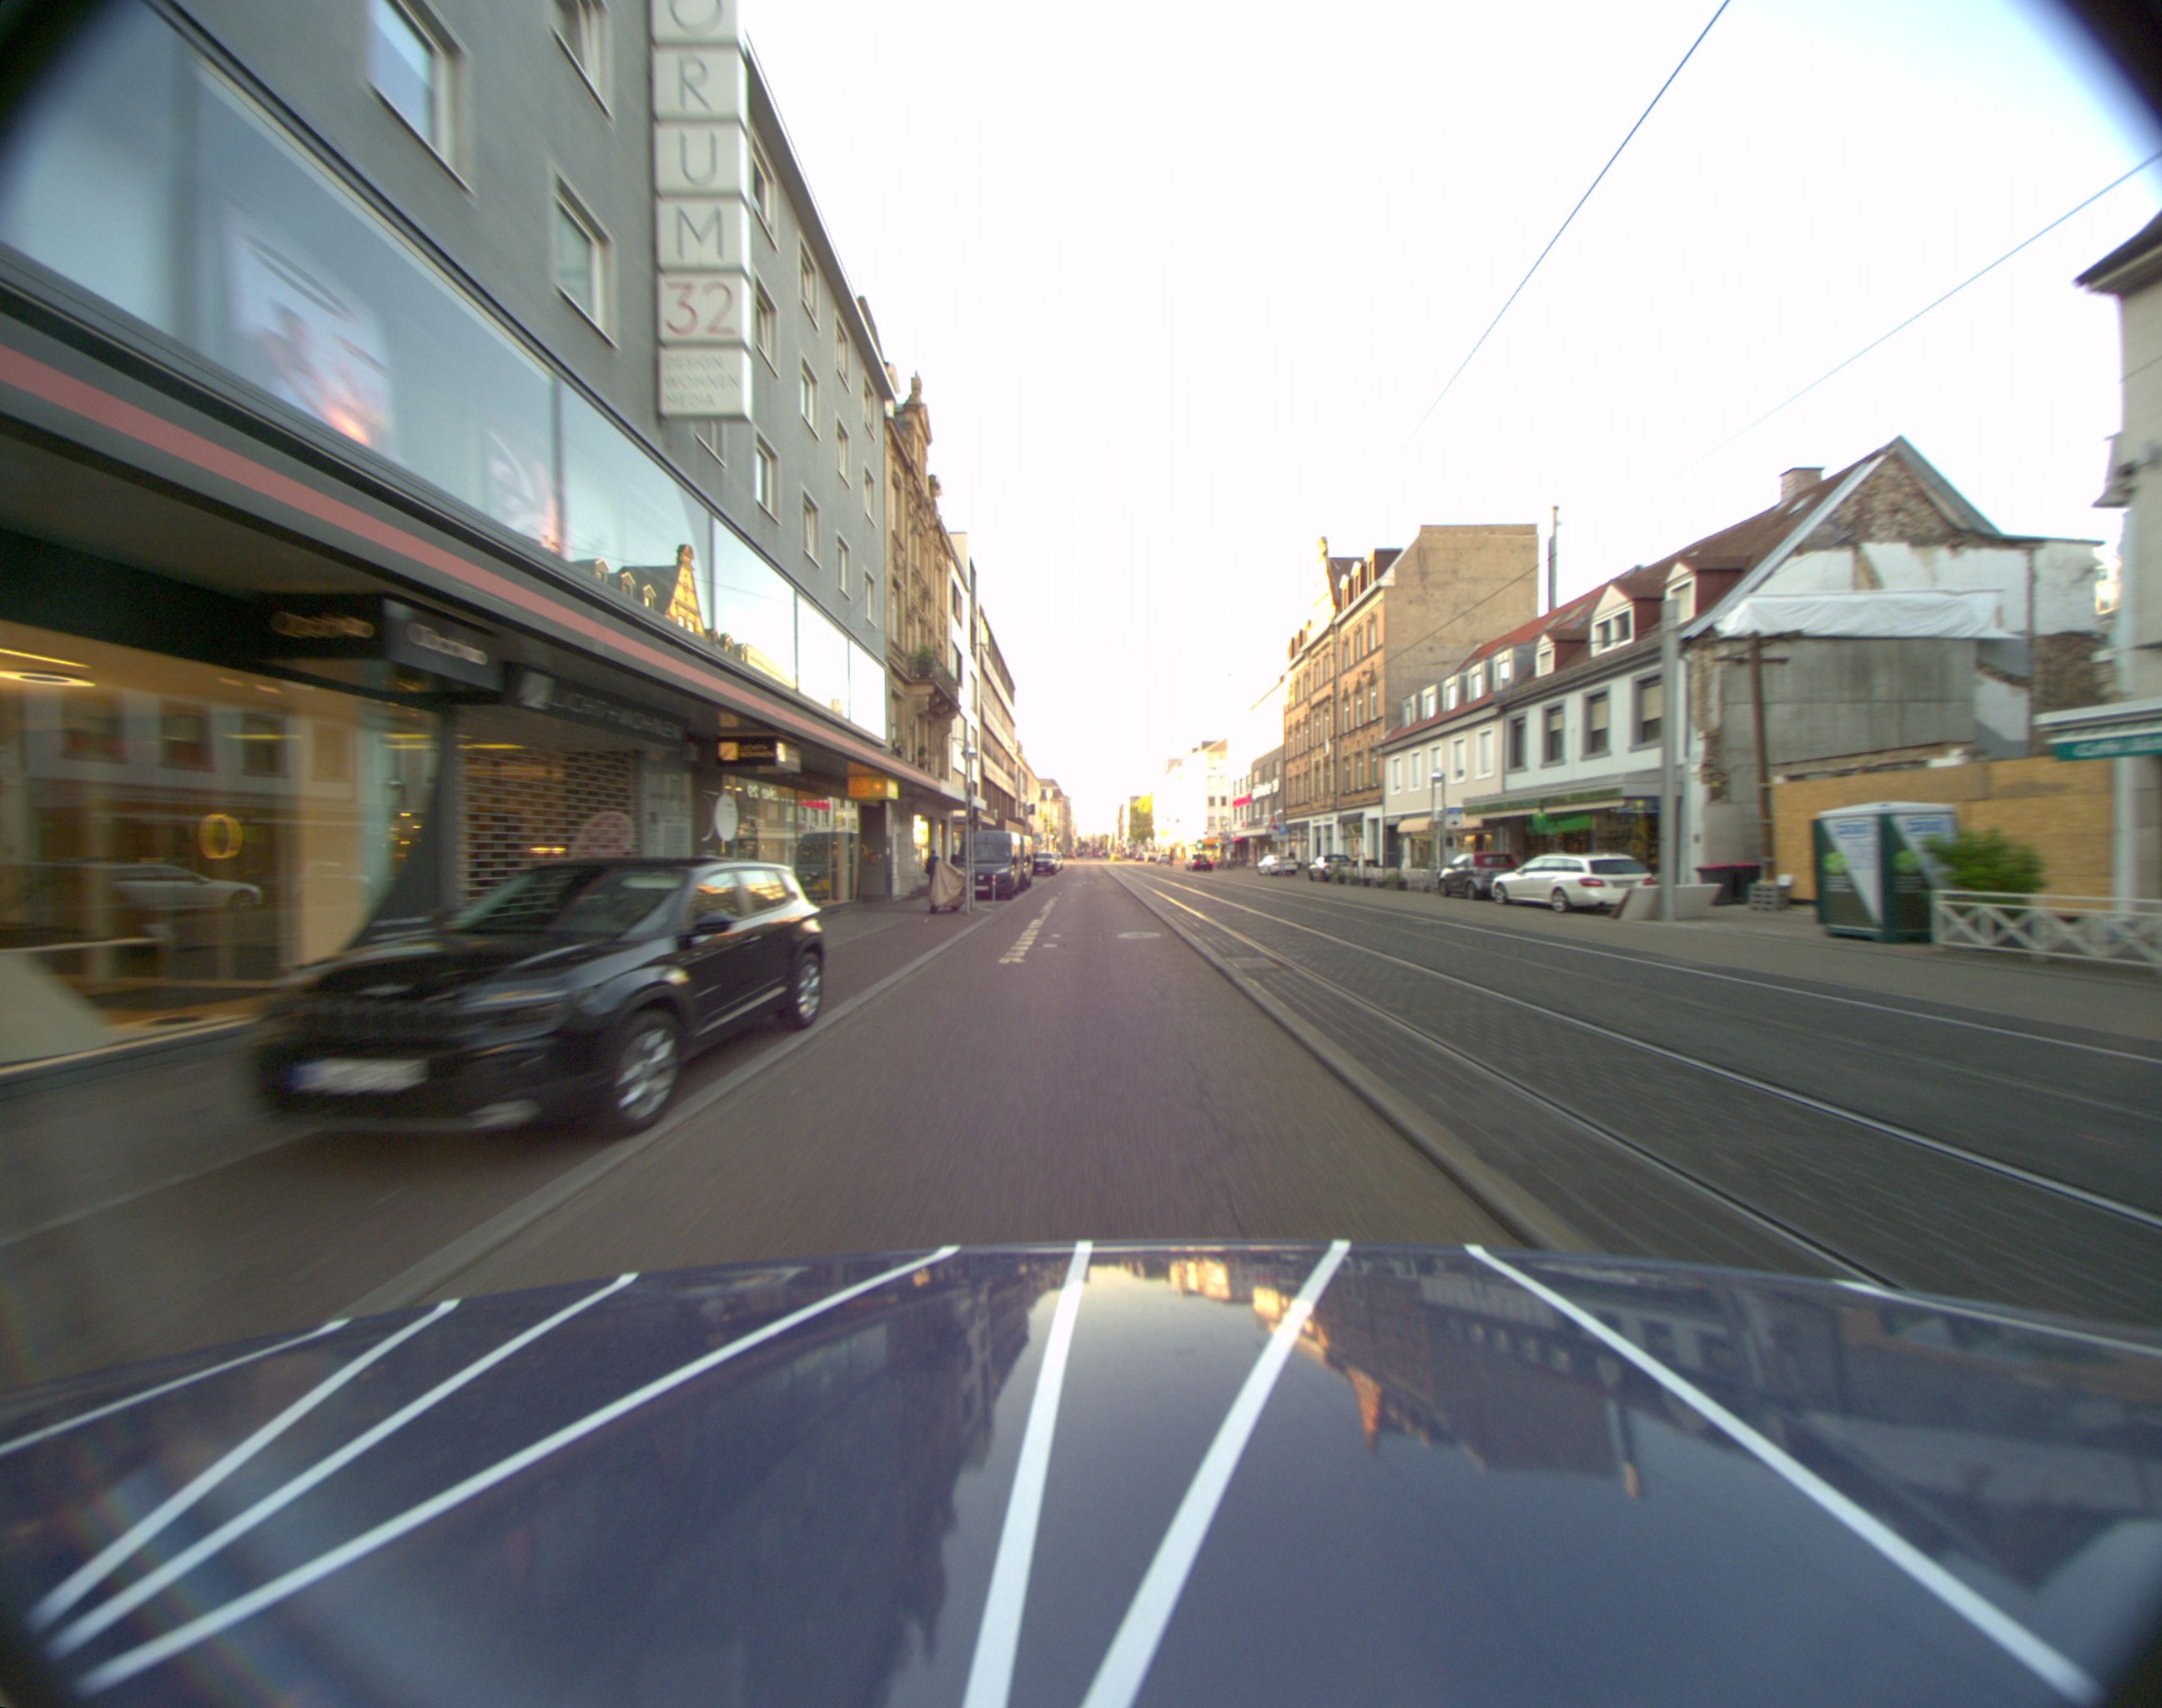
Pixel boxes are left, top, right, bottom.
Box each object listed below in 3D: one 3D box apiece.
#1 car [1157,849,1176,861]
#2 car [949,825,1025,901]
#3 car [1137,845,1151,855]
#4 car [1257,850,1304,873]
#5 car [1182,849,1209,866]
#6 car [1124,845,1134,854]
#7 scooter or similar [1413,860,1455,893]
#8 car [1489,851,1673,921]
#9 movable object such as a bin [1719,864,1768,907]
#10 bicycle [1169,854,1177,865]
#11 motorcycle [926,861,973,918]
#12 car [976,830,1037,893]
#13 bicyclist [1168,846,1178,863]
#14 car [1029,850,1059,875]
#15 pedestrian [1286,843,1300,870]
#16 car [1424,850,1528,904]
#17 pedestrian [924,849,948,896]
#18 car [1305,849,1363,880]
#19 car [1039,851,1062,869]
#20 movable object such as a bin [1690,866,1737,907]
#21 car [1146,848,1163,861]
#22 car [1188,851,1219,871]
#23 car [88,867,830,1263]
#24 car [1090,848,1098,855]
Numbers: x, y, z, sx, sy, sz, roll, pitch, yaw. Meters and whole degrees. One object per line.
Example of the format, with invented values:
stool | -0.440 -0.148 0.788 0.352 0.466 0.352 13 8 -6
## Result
car | 11.248 0.062 99.685 1.999 1.434 3.999 -2 1 0
car | -3.334 0.266 28.040 2.080 2.434 5.603 -2 1 -1
car | 10.849 -0.742 131.365 1.999 1.685 3.999 -2 1 0
car | 13.867 0.511 53.013 1.999 1.412 4.402 -2 1 -2
car | 11.240 0.313 74.794 1.999 1.544 3.999 -2 1 0
car | 11.753 -1.105 186.312 1.999 2.002 3.999 -2 1 0
scooter or similar | 13.180 0.838 28.357 1.365 1.161 0.311 -2 1 3
car | 13.119 0.751 20.361 1.896 1.547 4.622 -2 1 1
movable object such as a bin | 17.100 0.807 19.633 0.684 1.039 0.657 -2 1 5
bicycle | 10.055 0.568 82.991 0.493 1.183 2.265 -2 1 0
motorcycle | -3.519 0.921 20.546 0.785 1.396 2.637 1 0 0
car | -3.268 0.269 34.357 1.998 2.559 5.603 -2 1 1
bicyclist | 10.028 0.079 83.022 0.882 1.795 0.900 -2 1 1
car | -2.709 0.627 56.731 1.998 1.663 3.876 -2 1 0
pedestrian | 15.965 0.154 57.200 0.748 2.002 1.049 -2 1 5
car | 13.065 0.714 25.356 1.660 1.562 3.470 -2 1 1
pedestrian | -5.511 0.678 28.878 0.743 1.746 0.789 2 1 -3
car | 13.545 0.509 40.926 1.846 1.484 3.815 -2 1 1
car | -2.782 0.562 69.752 1.999 1.538 3.876 -2 0 -1
movable object such as a bin | 16.380 0.831 19.697 0.684 1.039 0.657 0 1 5
car | 11.022 0.055 114.100 1.999 1.830 3.999 -2 2 0
car | 10.472 0.551 65.315 1.999 1.554 3.999 -2 1 0
car | -3.272 0.928 5.189 1.744 1.532 3.965 -1 1 0
car | 3.120 -0.624 184.347 1.572 1.781 3.664 -2 1 -1
